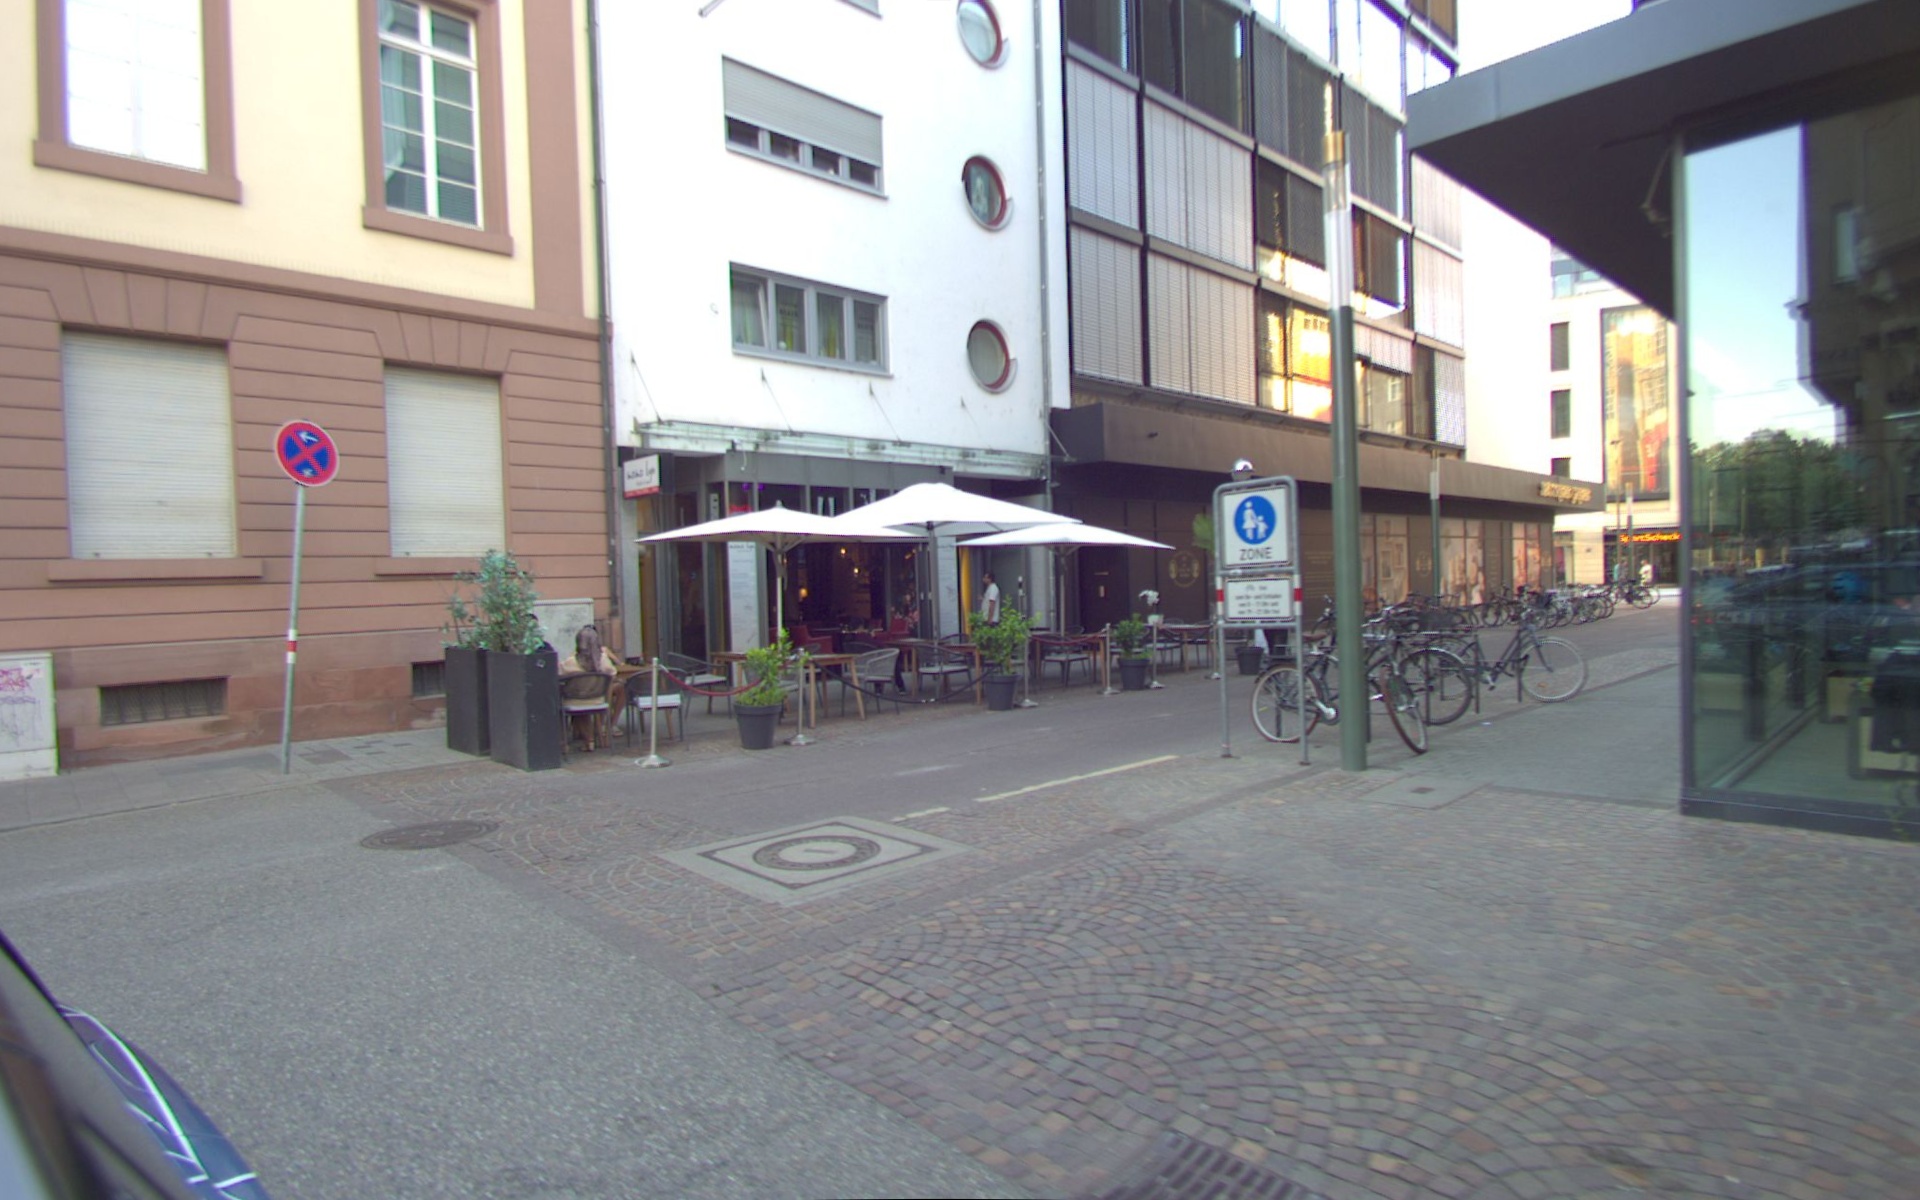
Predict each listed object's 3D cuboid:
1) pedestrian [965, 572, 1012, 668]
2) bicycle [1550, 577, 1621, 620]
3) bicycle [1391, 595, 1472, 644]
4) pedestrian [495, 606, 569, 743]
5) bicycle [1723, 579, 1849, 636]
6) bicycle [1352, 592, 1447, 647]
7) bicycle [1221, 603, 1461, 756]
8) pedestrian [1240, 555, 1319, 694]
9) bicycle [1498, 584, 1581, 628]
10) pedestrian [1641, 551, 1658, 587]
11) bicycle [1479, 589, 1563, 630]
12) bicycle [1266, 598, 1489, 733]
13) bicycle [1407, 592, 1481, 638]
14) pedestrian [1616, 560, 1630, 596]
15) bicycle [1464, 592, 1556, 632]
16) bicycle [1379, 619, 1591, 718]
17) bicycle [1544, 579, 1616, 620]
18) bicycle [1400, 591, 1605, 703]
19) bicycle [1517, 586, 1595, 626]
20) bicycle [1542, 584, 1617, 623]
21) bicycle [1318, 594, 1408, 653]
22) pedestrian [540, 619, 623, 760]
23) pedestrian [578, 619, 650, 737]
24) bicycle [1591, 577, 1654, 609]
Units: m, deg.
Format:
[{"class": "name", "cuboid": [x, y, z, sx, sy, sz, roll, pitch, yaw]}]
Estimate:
[{"class": "pedestrian", "cuboid": [0.516, 0.351, 18.124, 0.620, 1.678, 0.666, -2, 0, 19]}, {"class": "bicycle", "cuboid": [18.831, -0.045, 30.506, 0.459, 1.238, 1.735, -2, 0, -44]}, {"class": "bicycle", "cuboid": [10.510, 0.436, 22.596, 0.459, 1.044, 1.557, -2, 0, -44]}, {"class": "pedestrian", "cuboid": [-4.462, 0.753, 10.556, 0.541, 1.359, 0.489, -2, 0, -41]}, {"class": "bicycle", "cuboid": [15.758, 0.153, 19.349, 0.362, 1.022, 1.795, -2, -1, -44]}, {"class": "bicycle", "cuboid": [9.265, 0.408, 21.368, 0.540, 1.100, 1.729, -2, 0, -44]}, {"class": "bicycle", "cuboid": [3.120, 0.633, 8.404, 0.699, 1.121, 1.675, -2, -1, -44]}, {"class": "pedestrian", "cuboid": [4.337, 0.318, 13.724, 0.738, 1.798, 0.958, -2, 0, 34]}, {"class": "bicycle", "cuboid": [15.566, 0.167, 27.223, 0.459, 1.144, 1.850, -2, 0, -44]}, {"class": "pedestrian", "cuboid": [30.798, -1.383, 45.202, 0.470, 1.584, 0.380, -2, 0, -5]}, {"class": "bicycle", "cuboid": [14.524, 0.248, 26.225, 0.523, 1.016, 1.796, -2, 0, -44]}, {"class": "bicycle", "cuboid": [3.956, 0.615, 9.717, 0.601, 1.159, 1.843, -2, -1, -44]}, {"class": "bicycle", "cuboid": [11.287, 0.352, 23.621, 0.459, 1.013, 1.456, -2, 0, -44]}, {"class": "pedestrian", "cuboid": [29.790, -0.995, 45.463, 0.477, 1.564, 0.430, -2, 0, 31]}, {"class": "bicycle", "cuboid": [13.734, 0.301, 25.319, 0.459, 0.964, 1.946, -2, 0, -44]}, {"class": "bicycle", "cuboid": [5.225, 0.677, 10.170, 0.447, 0.902, 1.794, -2, -1, -44]}, {"class": "bicycle", "cuboid": [18.281, -0.005, 29.868, 0.459, 1.154, 1.735, -2, 0, -44]}, {"class": "bicycle", "cuboid": [6.057, 0.521, 11.395, 0.549, 1.153, 1.912, -2, -1, -44]}, {"class": "bicycle", "cuboid": [16.520, 0.175, 28.069, 0.459, 1.059, 1.778, -2, 0, -44]}, {"class": "bicycle", "cuboid": [17.577, 0.099, 28.750, 0.459, 1.059, 1.735, -2, 0, -44]}, {"class": "bicycle", "cuboid": [7.911, 0.461, 19.908, 0.540, 1.093, 1.544, -2, 0, -44]}, {"class": "pedestrian", "cuboid": [-3.470, 0.797, 9.280, 0.553, 1.221, 0.462, -2, 0, -41]}, {"class": "pedestrian", "cuboid": [-3.773, 0.826, 11.032, 0.541, 1.220, 0.525, -2, 0, -41]}, {"class": "bicycle", "cuboid": [22.886, -0.226, 34.987, 0.431, 1.069, 1.735, -2, 0, -44]}]
